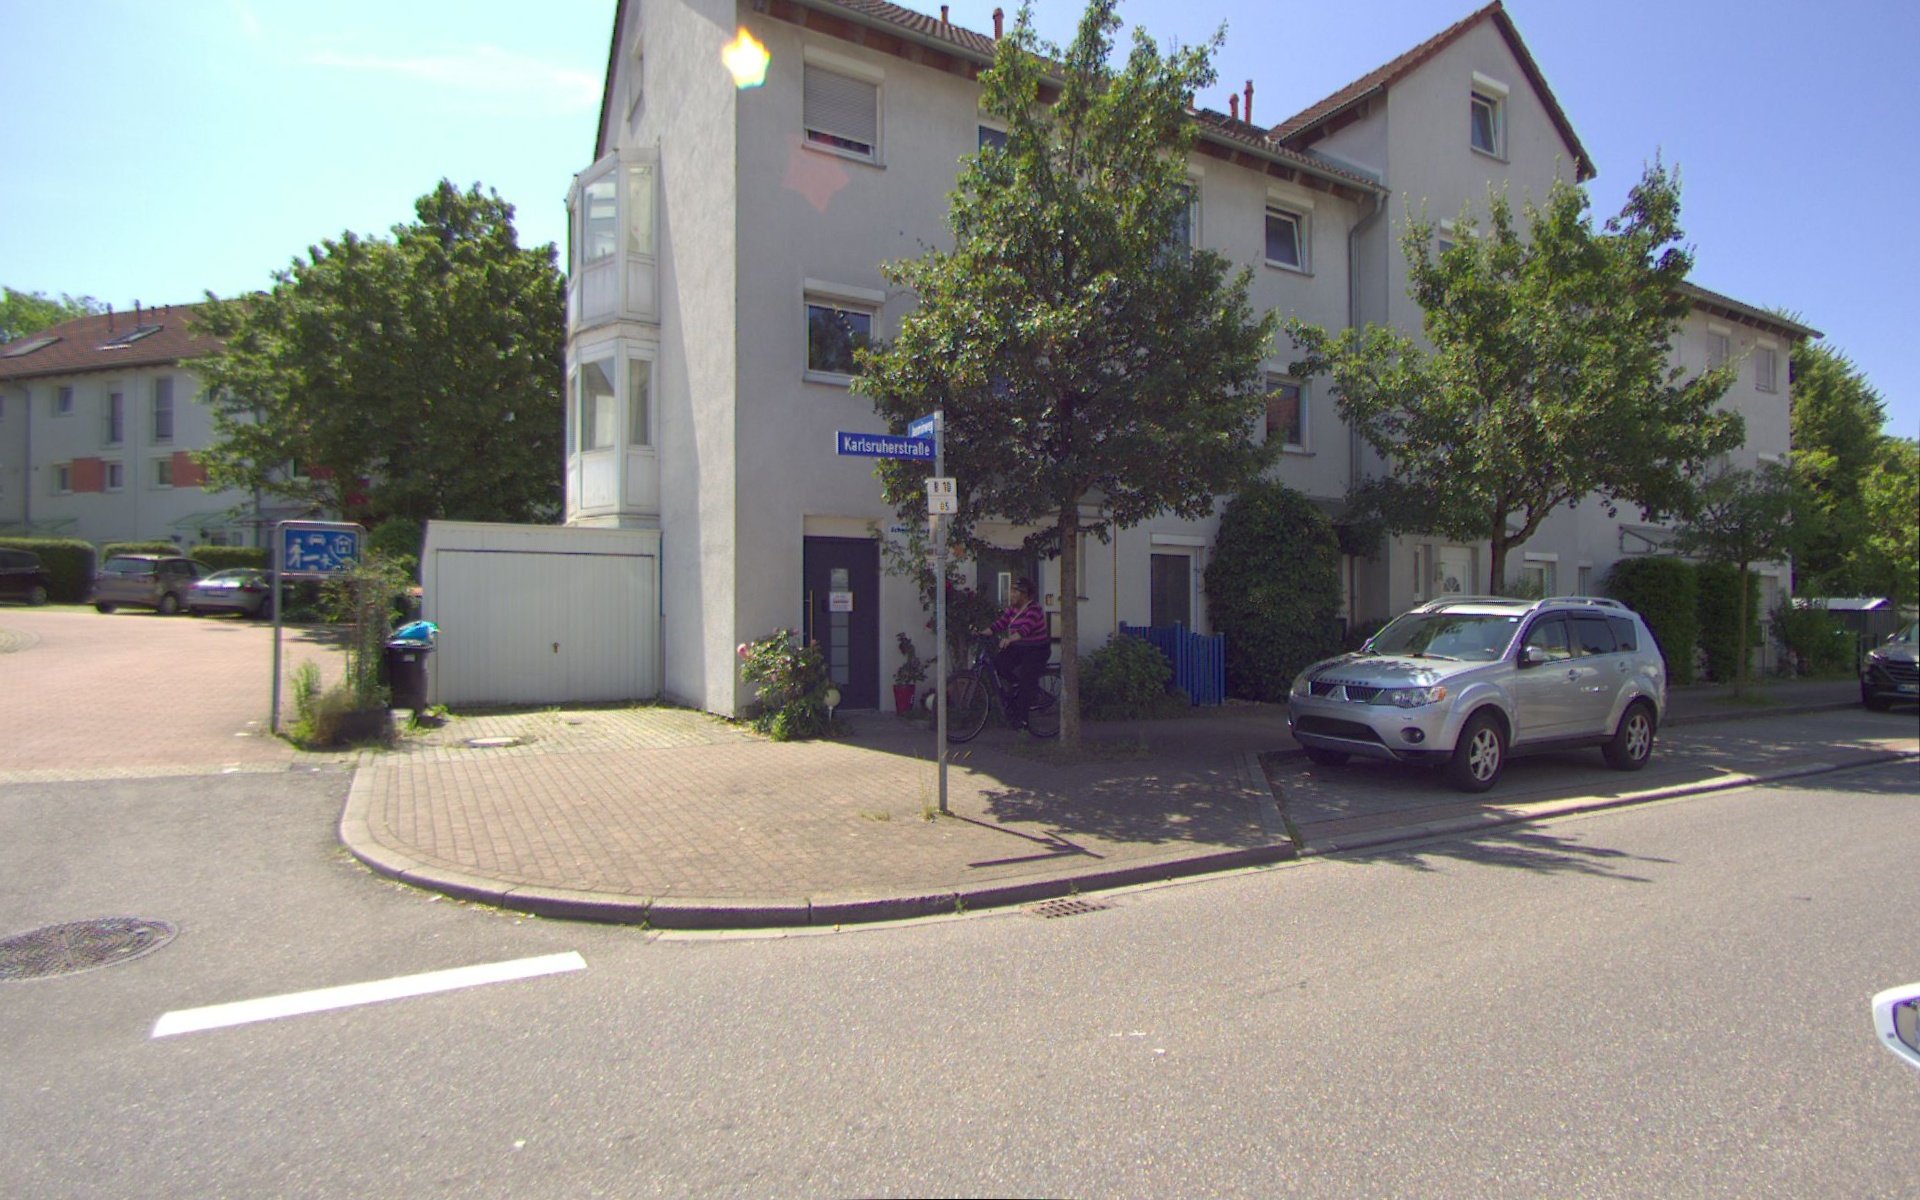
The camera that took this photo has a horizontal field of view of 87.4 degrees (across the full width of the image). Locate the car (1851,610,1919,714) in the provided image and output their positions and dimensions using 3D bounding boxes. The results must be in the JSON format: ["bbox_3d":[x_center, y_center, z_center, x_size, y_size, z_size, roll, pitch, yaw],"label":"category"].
[{"bbox_3d":[16.866,1.007,16.876,3.949,1.641,1.684,1,0,-30],"label":"car"}]

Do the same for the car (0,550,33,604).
[{"bbox_3d":[-26.516,-0.630,26.584,1.567,1.471,3.623,1,0,-19],"label":"car"}]

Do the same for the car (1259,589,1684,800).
[{"bbox_3d":[5.199,0.792,10.033,4.474,1.709,1.697,1,0,-31],"label":"car"}]

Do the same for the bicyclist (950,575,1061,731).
[{"bbox_3d":[0.465,0.516,10.335,0.900,1.514,0.654,1,2,-34],"label":"bicyclist"}]

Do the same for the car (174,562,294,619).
[{"bbox_3d":[-19.902,-0.285,27.718,1.667,1.447,3.980,1,1,-21],"label":"car"}]

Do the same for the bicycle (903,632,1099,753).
[{"bbox_3d":[0.453,0.899,10.341,2.005,1.070,0.667,0,2,-34],"label":"bicycle"}]

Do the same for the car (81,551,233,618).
[{"bbox_3d":[-22.025,-0.441,27.750,1.720,1.645,3.988,2,1,-14],"label":"car"}]
